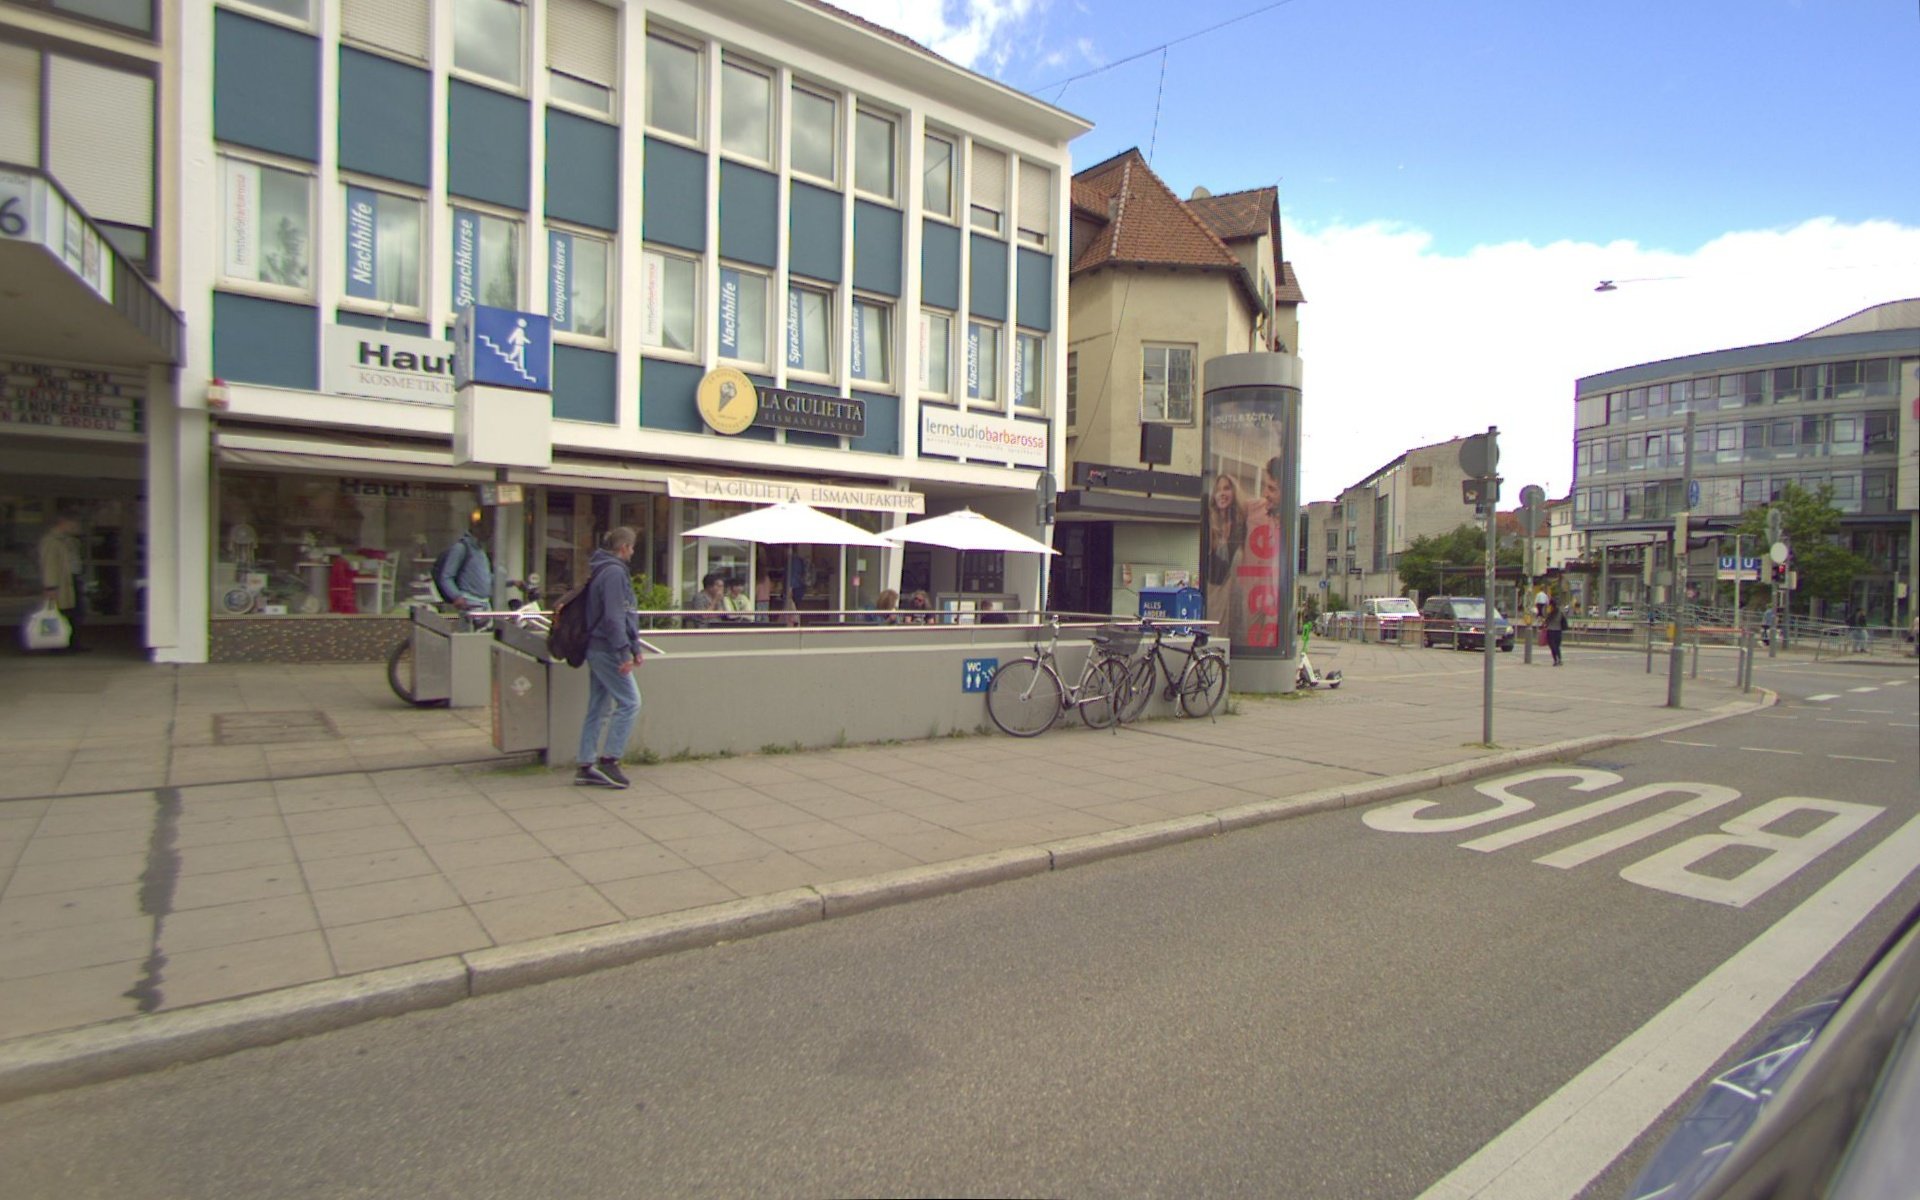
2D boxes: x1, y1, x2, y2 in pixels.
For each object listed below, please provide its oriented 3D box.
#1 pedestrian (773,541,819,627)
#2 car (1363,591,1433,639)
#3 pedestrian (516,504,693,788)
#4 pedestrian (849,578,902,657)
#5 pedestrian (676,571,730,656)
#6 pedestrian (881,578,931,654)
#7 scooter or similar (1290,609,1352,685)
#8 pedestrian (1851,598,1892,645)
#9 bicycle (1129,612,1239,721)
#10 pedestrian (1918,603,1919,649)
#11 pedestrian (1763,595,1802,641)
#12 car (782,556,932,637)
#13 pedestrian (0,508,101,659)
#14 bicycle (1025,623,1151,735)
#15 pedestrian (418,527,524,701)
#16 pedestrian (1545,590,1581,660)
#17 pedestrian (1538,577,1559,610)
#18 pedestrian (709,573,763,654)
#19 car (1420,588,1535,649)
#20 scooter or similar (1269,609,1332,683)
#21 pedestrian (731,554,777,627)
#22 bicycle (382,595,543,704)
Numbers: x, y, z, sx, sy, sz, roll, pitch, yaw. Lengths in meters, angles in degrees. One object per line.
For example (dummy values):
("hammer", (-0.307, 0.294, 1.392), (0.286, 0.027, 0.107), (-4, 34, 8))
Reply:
("pedestrian", (-2.884, -0.267, 17.831), (0.577, 1.480, 0.614), (1, -3, -39))
("car", (18.951, 0.596, 43.969), (1.852, 1.919, 4.909), (1, 1, 13))
("pedestrian", (-2.255, 0.262, 6.430), (0.838, 1.655, 0.689), (1, 1, -41))
("pedestrian", (-1.379, 0.269, 16.464), (0.577, 1.235, 0.614), (1, 1, -40))
("pedestrian", (-3.819, 0.204, 15.024), (0.577, 1.236, 0.614), (1, -3, -40))
("pedestrian", (-0.909, 0.270, 16.868), (0.577, 1.236, 0.614), (1, -3, -40))
("scooter or similar", (5.726, 0.728, 16.038), (1.186, 1.147, 0.315), (1, 1, -37))
("pedestrian", (32.521, 0.764, 36.119), (0.834, 1.656, 0.641), (-1, -2, 19))
("bicycle", (2.348, 0.667, 10.534), (1.361, 1.066, 0.274), (1, 1, -37))
("pedestrian", (34.040, 0.911, 35.352), (0.578, 1.656, 0.525), (-1, -2, 7))
("pedestrian", (30.404, 0.664, 37.417), (0.795, 1.668, 0.884), (1, 0, 15))
("car", (-2.435, -0.092, 23.060), (1.702, 1.687, 3.980), (1, 0, -34))
("pedestrian", (-10.440, -0.186, 11.630), (0.838, 1.655, 0.689), (1, 1, -41))
("bicycle", (1.233, 0.717, 9.579), (1.361, 0.986, 0.274), (1, 1, -37))
("pedestrian", (-4.897, 0.127, 10.141), (0.786, 1.655, 0.667), (1, 0, -41))
("pedestrian", (14.588, 0.606, 24.499), (0.580, 1.643, 0.739), (-1, -2, 20))
("pedestrian", (32.328, -0.339, 55.595), (0.682, 1.766, 0.615), (0, -2, -2))
("pedestrian", (-3.481, 0.204, 15.718), (0.577, 1.235, 0.614), (1, 0, -40))
("car", (17.707, 0.563, 34.920), (1.847, 1.919, 4.920), (1, 1, 6))
("scooter or similar", (5.491, 0.727, 16.295), (1.186, 1.147, 0.315), (1, 1, -37))
("pedestrian", (-3.579, -0.155, 17.554), (0.577, 1.236, 0.614), (1, -3, -39))
("bicycle", (-4.798, 0.460, 9.812), (1.362, 0.986, 0.274), (1, 1, -40))
